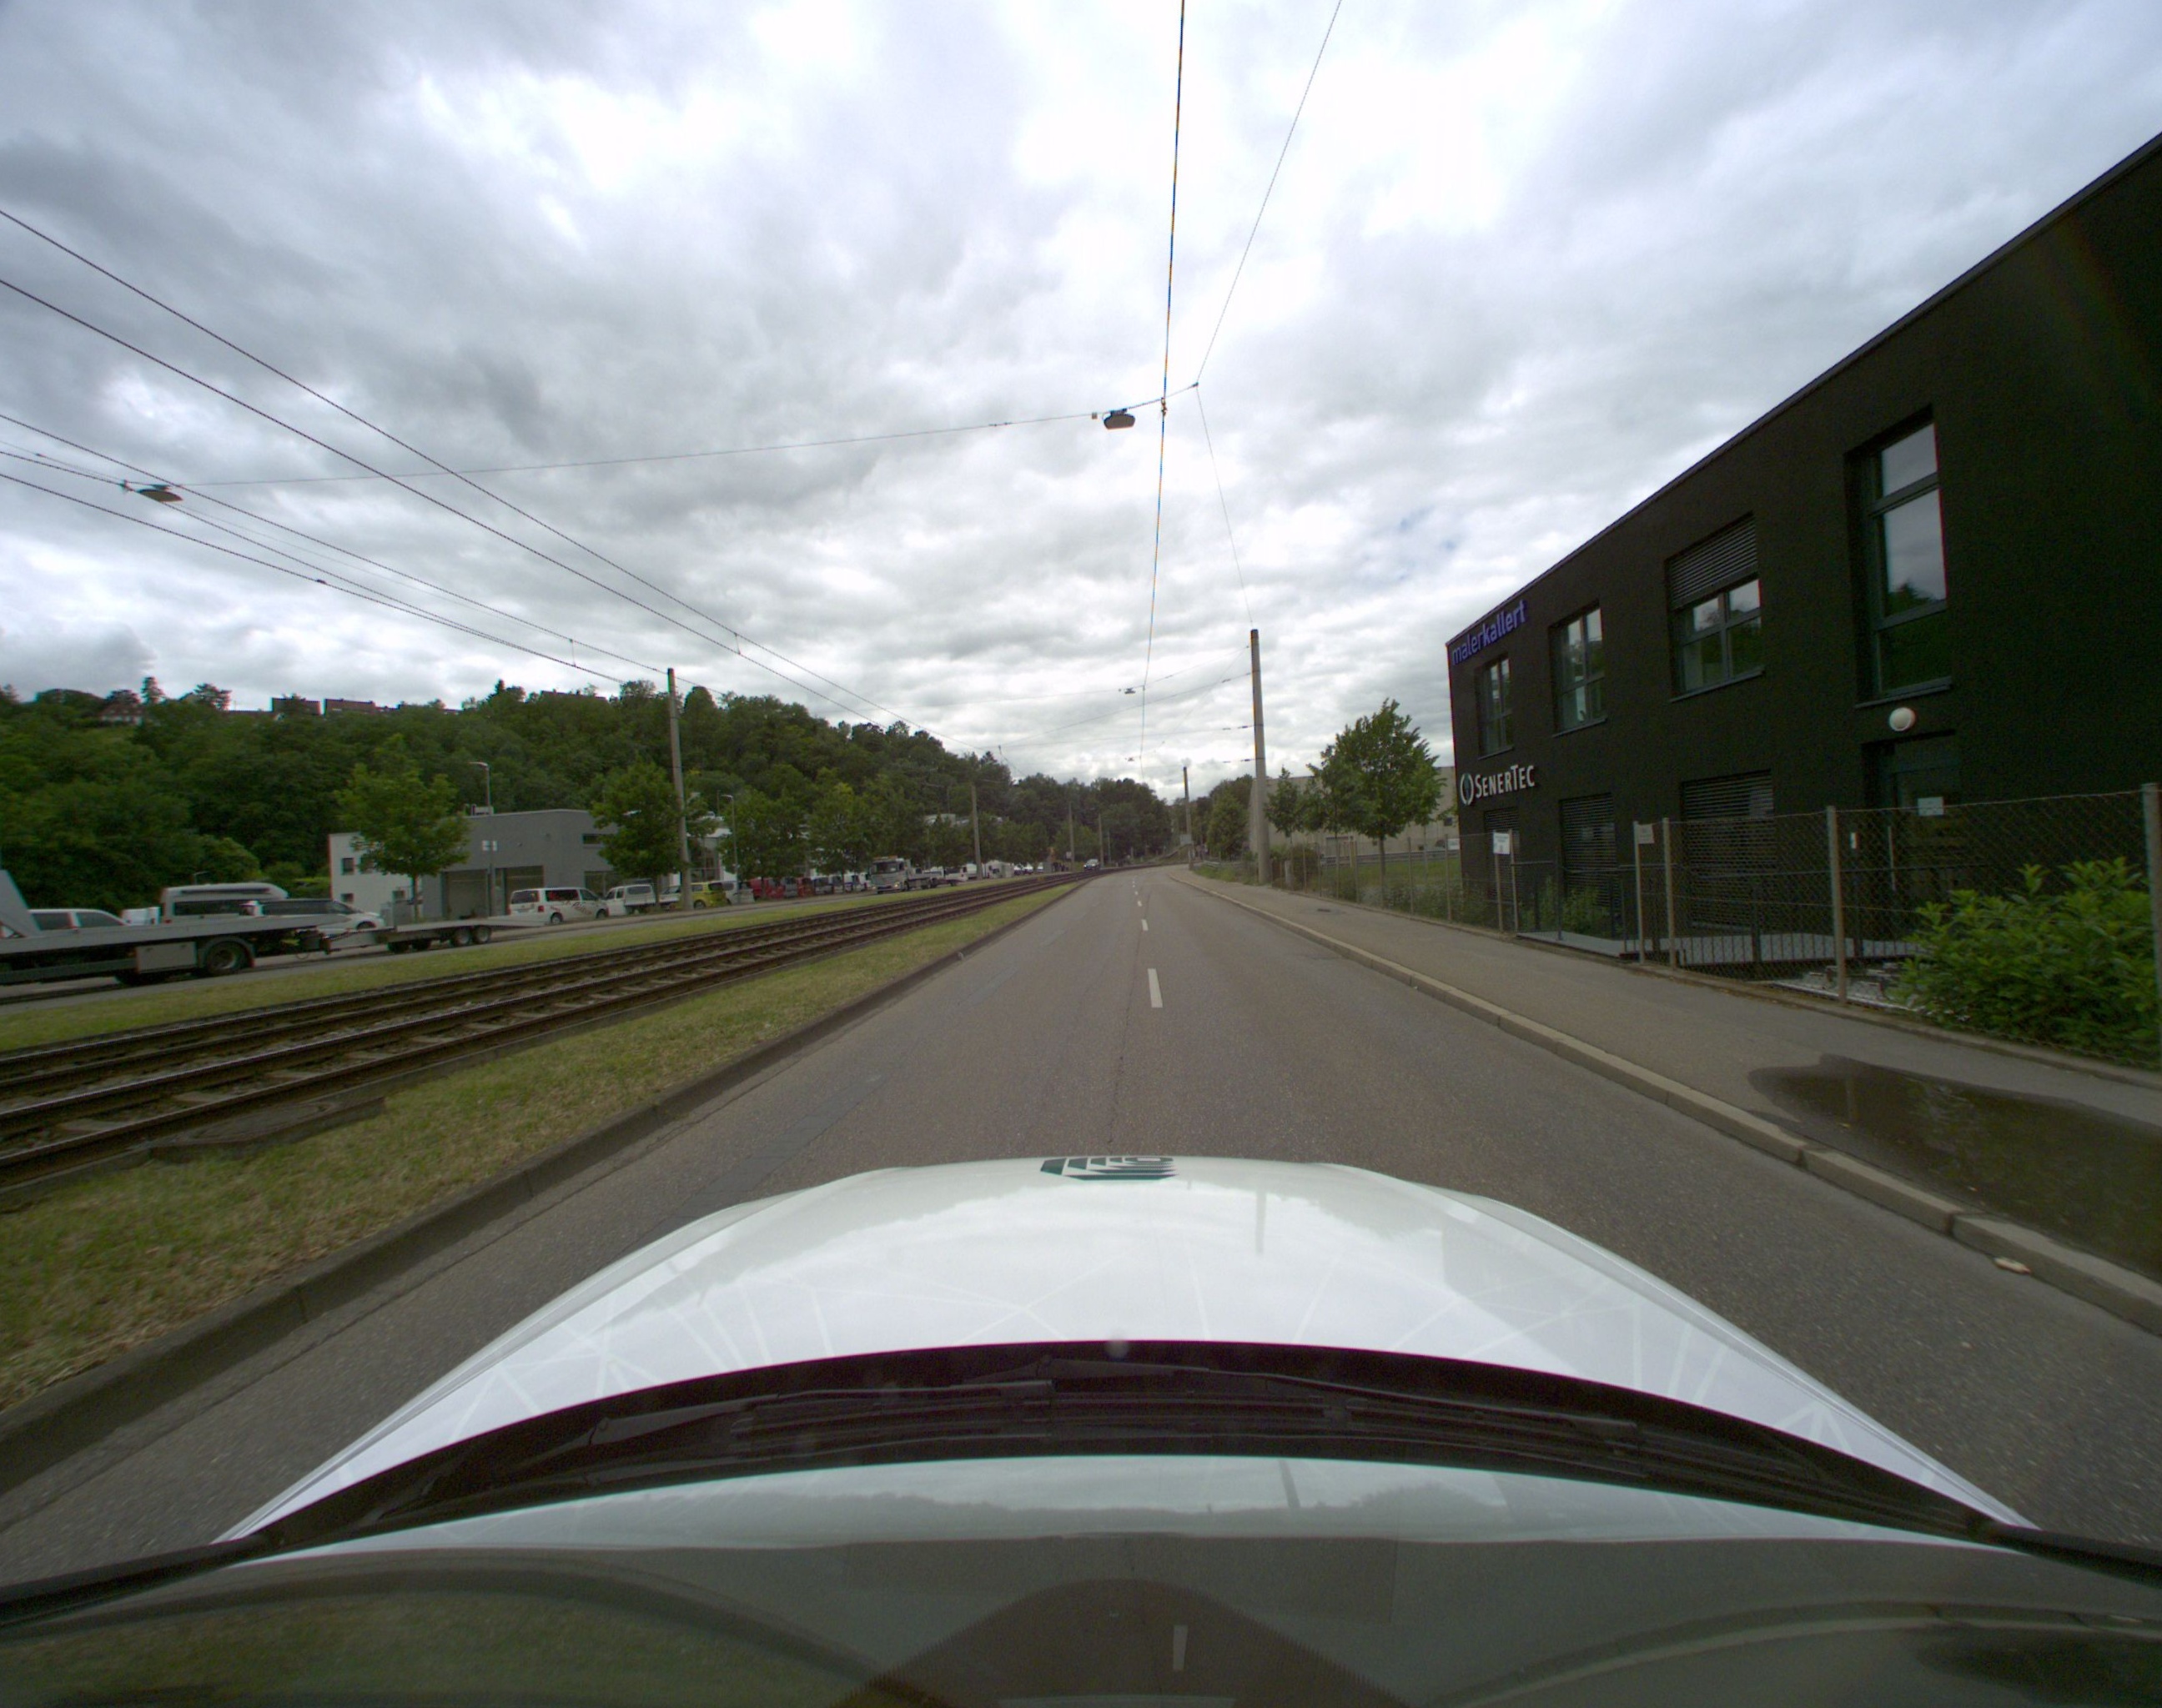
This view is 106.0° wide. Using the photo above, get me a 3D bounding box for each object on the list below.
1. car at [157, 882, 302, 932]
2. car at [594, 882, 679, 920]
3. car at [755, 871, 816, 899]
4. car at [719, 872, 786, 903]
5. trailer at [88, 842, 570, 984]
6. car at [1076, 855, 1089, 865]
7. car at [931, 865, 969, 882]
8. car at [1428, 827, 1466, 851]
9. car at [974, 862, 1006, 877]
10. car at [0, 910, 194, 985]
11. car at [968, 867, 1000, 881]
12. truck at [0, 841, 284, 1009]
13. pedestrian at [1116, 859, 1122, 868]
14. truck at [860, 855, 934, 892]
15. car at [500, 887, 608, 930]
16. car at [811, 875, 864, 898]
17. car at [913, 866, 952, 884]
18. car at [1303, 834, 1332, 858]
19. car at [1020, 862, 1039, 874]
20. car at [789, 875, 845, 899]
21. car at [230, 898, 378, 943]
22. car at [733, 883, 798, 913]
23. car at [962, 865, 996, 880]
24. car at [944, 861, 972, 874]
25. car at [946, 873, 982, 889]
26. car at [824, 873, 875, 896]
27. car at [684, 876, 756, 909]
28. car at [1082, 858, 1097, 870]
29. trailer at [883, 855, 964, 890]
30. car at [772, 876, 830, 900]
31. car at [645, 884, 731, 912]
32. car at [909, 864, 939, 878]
[{"bbox_3d":[-43.719,2.687,41.961,1.589,2.191,4.910,-3,-1,31],"label":"car"},{"bbox_3d":[-25.669,2.733,46.991,4.552,1.899,2.011,-5,-5,26],"label":"car"},{"bbox_3d":[-23.200,2.461,64.070,3.966,2.014,2.003,-3,-4,7],"label":"car"},{"bbox_3d":[-23.674,2.423,58.779,3.966,2.014,2.003,-3,-4,7],"label":"car"},{"bbox_3d":[-19.858,1.305,23.195,2.878,2.982,10.807,-3,0,5],"label":"trailer"},{"bbox_3d":[0.279,1.056,145.422,1.984,1.640,4.005,-3,0,4],"label":"car"},{"bbox_3d":[-15.641,2.323,97.426,3.962,1.706,1.839,-4,-4,10],"label":"car"},{"bbox_3d":[27.543,-1.106,61.454,1.815,1.706,4.015,-4,0,13],"label":"car"},{"bbox_3d":[-12.857,2.202,115.303,3.962,1.706,1.839,-4,-4,10],"label":"car"},{"bbox_3d":[-28.294,2.563,22.755,2.146,1.877,4.259,-3,-4,5],"label":"car"},{"bbox_3d":[-13.226,2.749,111.376,3.962,1.706,1.839,-4,-4,10],"label":"car"},{"bbox_3d":[-20.576,1.334,15.824,2.869,2.990,6.923,-3,0,6],"label":"truck"},{"bbox_3d":[8.390,2.113,179.489,1.005,2.014,1.151,-4,-4,20],"label":"pedestrian"},{"bbox_3d":[-14.173,1.463,63.419,2.864,2.589,6.933,-3,0,12],"label":"truck"},{"bbox_3d":[-25.875,2.706,40.210,1.983,1.899,4.617,-3,-4,7],"label":"car"},{"bbox_3d":[-21.263,2.819,71.106,3.962,1.706,1.839,-4,-1,10],"label":"car"},{"bbox_3d":[-17.126,2.449,93.825,3.962,1.706,1.839,-4,-4,10],"label":"car"},{"bbox_3d":[18.296,-0.582,63.117,1.815,1.706,3.819,-4,0,13],"label":"car"},{"bbox_3d":[-8.705,2.420,137.781,1.814,1.706,4.158,-4,-4,15],"label":"car"},{"bbox_3d":[-22.159,2.760,68.424,3.962,1.705,1.839,-4,0,10],"label":"car"},{"bbox_3d":[-37.574,3.178,39.535,1.589,1.765,4.910,-3,-1,31],"label":"car"},{"bbox_3d":[-23.658,3.296,61.167,3.966,2.014,2.003,-3,-4,7],"label":"car"},{"bbox_3d":[-13.470,2.436,107.744,3.962,1.706,1.839,-4,-4,10],"label":"car"},{"bbox_3d":[-18.872,2.060,125.249,4.122,1.706,1.830,-3,-4,-4],"label":"car"},{"bbox_3d":[-14.749,3.356,102.677,3.962,1.705,1.839,-4,0,10],"label":"car"},{"bbox_3d":[-20.901,2.737,73.607,3.962,1.706,1.839,-4,0,10],"label":"car"},{"bbox_3d":[-24.576,2.641,55.576,3.966,2.014,2.003,-3,-4,7],"label":"car"},{"bbox_3d":[1.346,1.568,125.864,1.984,1.640,4.005,-3,0,4],"label":"car"},{"bbox_3d":[-13.082,1.435,68.713,2.873,2.583,10.027,-3,0,12],"label":"trailer"},{"bbox_3d":[-22.762,2.770,66.261,3.962,1.706,1.839,-4,-1,10],"label":"car"},{"bbox_3d":[-25.377,2.869,52.702,4.572,1.575,2.003,-3,-4,6],"label":"car"},{"bbox_3d":[-22.955,2.491,119.213,4.122,1.706,1.830,-3,-4,-4],"label":"car"}]
